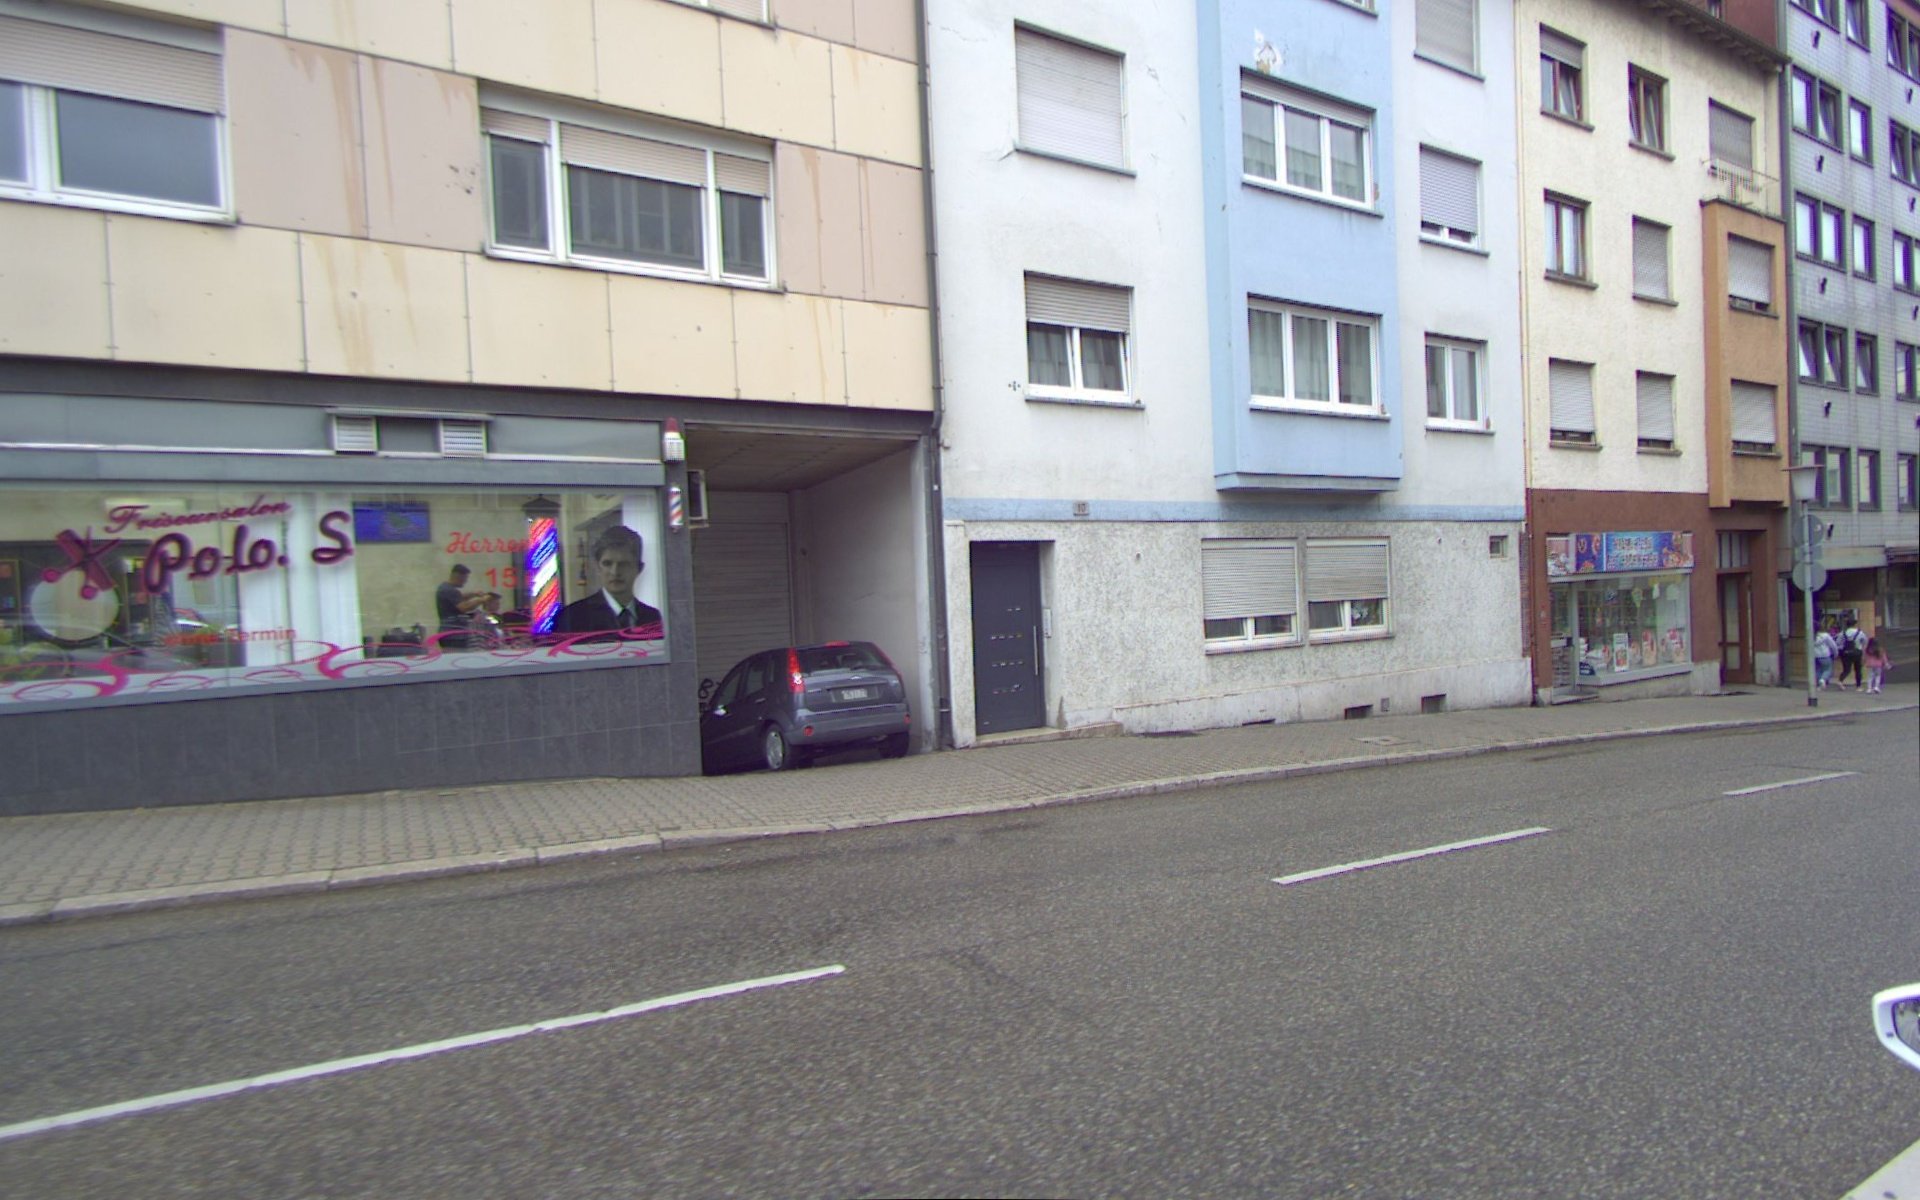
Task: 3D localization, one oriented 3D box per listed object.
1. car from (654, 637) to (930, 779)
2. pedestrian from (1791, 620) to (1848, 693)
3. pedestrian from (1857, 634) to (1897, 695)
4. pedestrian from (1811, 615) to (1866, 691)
[{"bbox_3d":[-2.218,1.373,12.330,1.663,1.367,3.963,-2,-6,-37],"label":"car"},{"bbox_3d":[19.590,1.269,22.891,0.717,1.582,0.821,1,1,-39],"label":"pedestrian"},{"bbox_3d":[20.738,1.446,22.724,0.717,1.341,0.529,1,1,-39],"label":"pedestrian"},{"bbox_3d":[20.585,1.232,23.543,0.717,1.712,0.821,1,1,-39],"label":"pedestrian"}]
